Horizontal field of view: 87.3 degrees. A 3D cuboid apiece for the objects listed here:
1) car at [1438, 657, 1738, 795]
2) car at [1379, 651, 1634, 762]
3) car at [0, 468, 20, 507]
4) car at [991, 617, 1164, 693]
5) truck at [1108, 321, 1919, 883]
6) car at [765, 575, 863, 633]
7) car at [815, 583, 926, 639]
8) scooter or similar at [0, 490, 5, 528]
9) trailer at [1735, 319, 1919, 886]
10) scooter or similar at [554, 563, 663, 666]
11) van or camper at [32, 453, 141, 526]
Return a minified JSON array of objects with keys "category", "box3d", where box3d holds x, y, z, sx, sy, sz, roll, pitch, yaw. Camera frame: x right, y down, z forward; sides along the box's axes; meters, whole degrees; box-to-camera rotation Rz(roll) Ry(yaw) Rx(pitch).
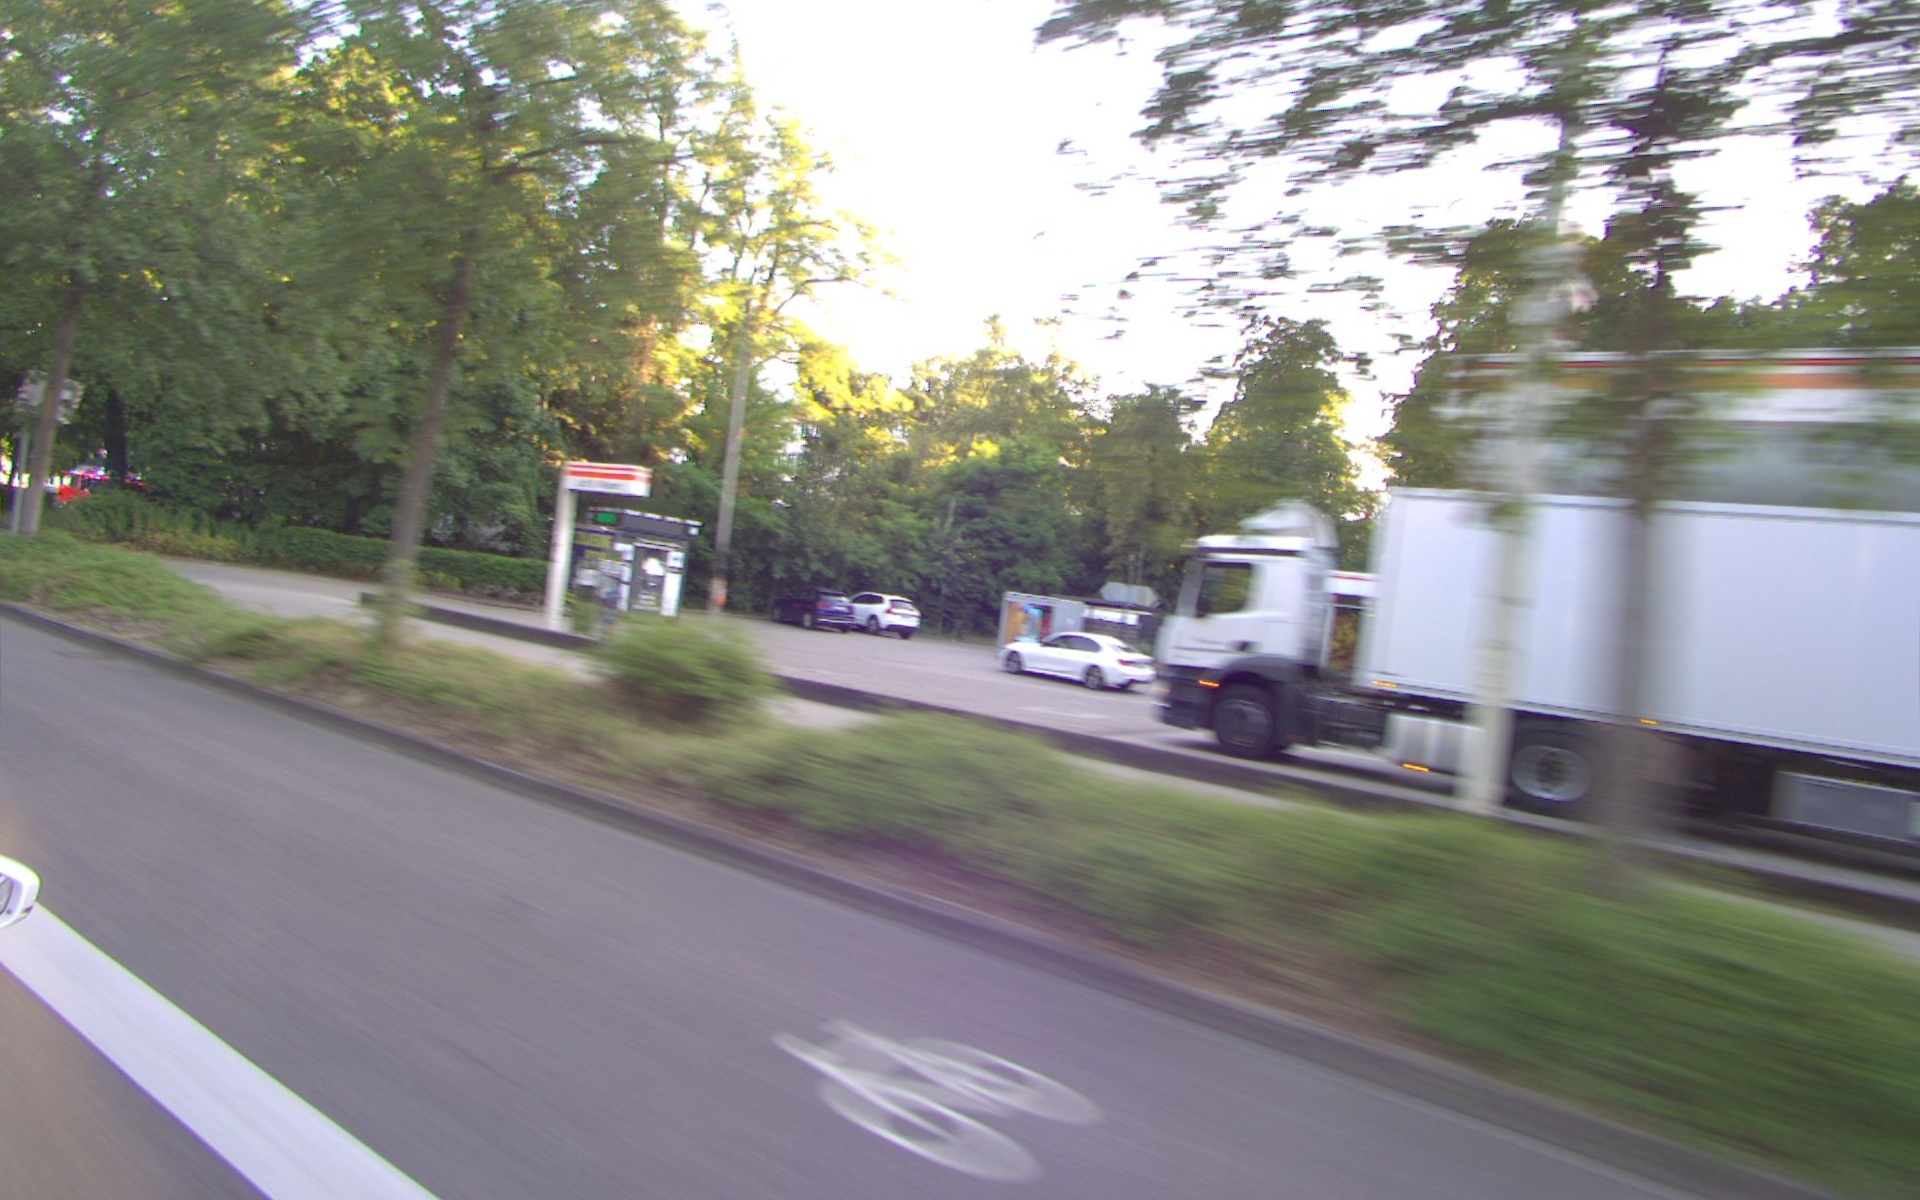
[{"category":"car","box3d":[12.027,2.339,19.589,4.599,1.888,1.873,6,-1,32]},{"category":"car","box3d":[13.938,2.653,25.885,5.411,1.888,1.950,7,0,32]},{"category":"car","box3d":[-54.848,-6.512,54.888,1.894,2.014,4.908,8,0,39]},{"category":"car","box3d":[3.283,1.535,28.843,4.631,1.538,1.783,8,2,41]},{"category":"truck","box3d":[6.674,-0.313,13.135,8.265,5.522,3.039,7,0,29]},{"category":"car","box3d":[-5.716,0.140,39.047,1.876,1.659,4.240,5,3,-37]},{"category":"car","box3d":[-3.710,0.424,41.057,1.911,1.729,4.638,5,2,-44]},{"category":"scooter or similar","box3d":[-27.549,-2.618,28.575,0.964,1.054,0.310,8,1,32]},{"category":"trailer","box3d":[12.941,0.513,9.587,7.797,5.529,3.026,8,0,29]},{"category":"scooter or similar","box3d":[-5.109,0.203,14.583,1.444,1.298,0.598,8,1,32]},{"category":"van or camper","box3d":[-49.873,-6.345,57.353,8.117,3.236,3.436,7,-2,42]}]
